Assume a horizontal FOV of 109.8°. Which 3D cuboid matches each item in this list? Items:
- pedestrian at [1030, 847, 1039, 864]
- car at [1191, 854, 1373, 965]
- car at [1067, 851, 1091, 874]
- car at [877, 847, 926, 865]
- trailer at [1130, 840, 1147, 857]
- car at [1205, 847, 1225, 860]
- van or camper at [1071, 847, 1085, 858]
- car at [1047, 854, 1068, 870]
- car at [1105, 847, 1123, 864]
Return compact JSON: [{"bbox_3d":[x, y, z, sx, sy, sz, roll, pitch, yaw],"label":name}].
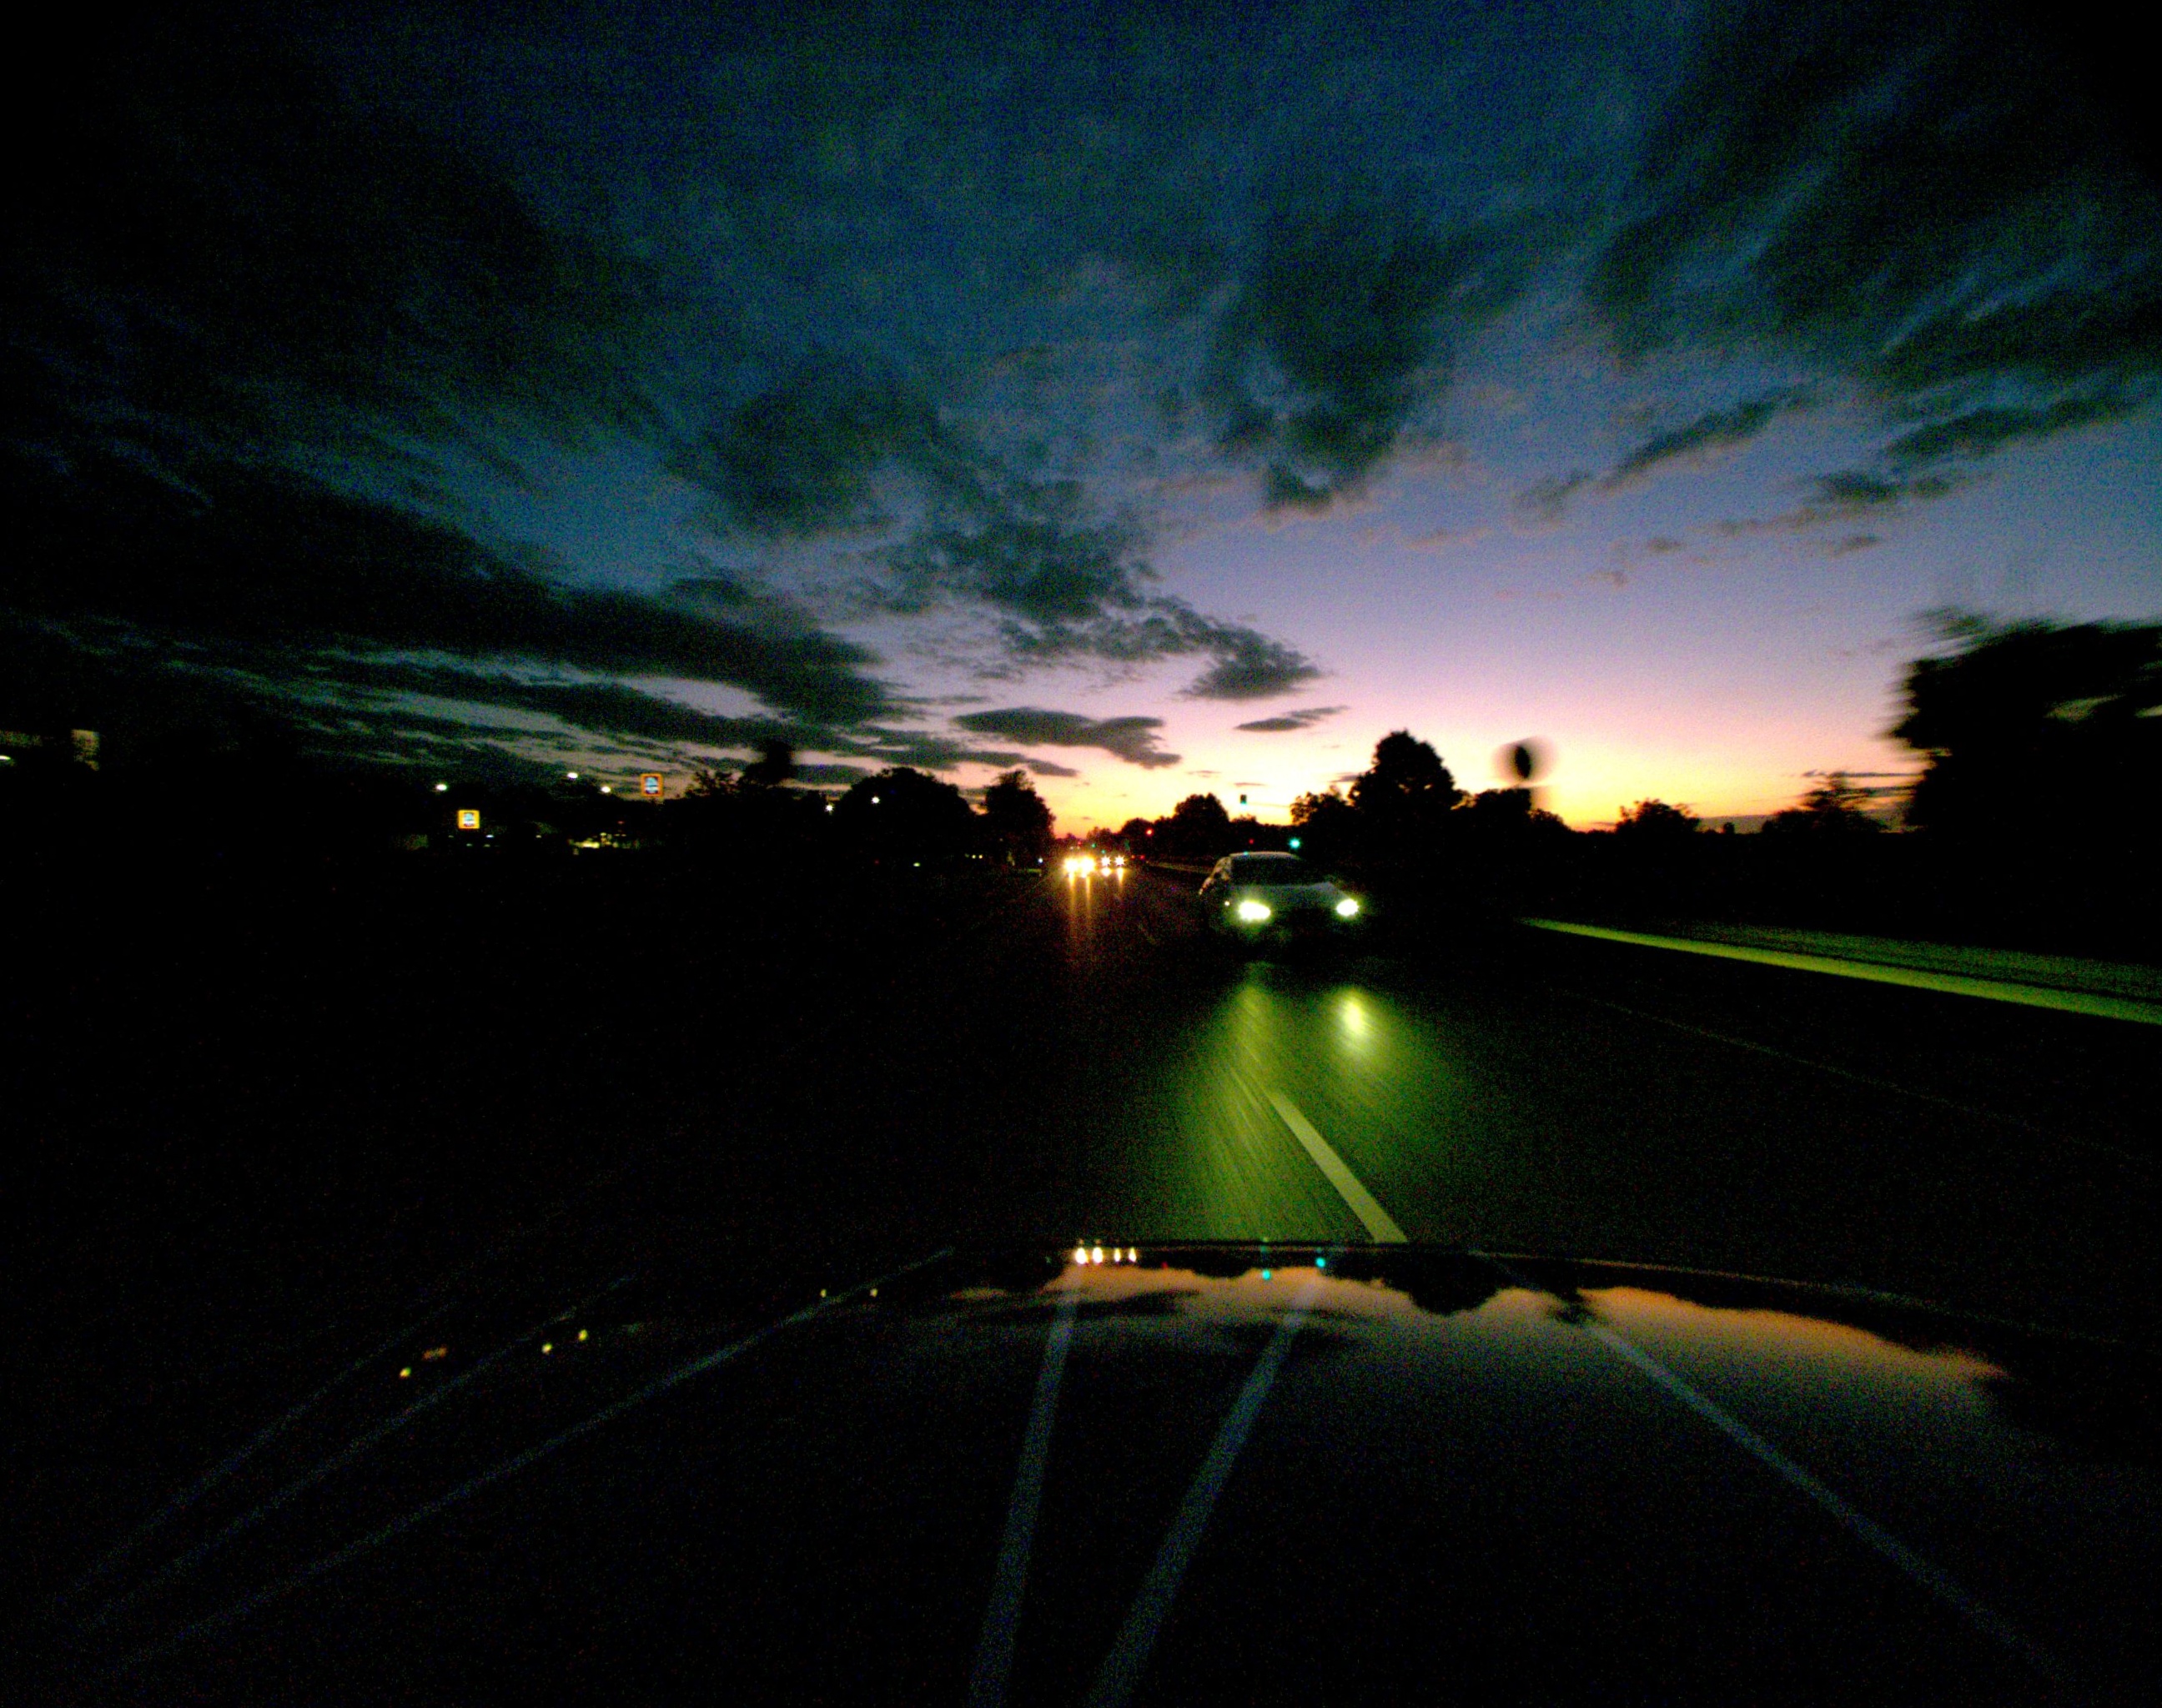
[{"bbox_3d":[-5.715,0.201,92.941,0.782,2.002,0.712,-4,2,-38],"label":"pedestrian"},{"bbox_3d":[3.085,0.770,12.707,1.819,1.428,4.646,-3,0,1],"label":"car"},{"bbox_3d":[-0.111,0.574,54.113,1.663,1.528,3.715,-2,0,1],"label":"car"},{"bbox_3d":[-17.773,0.181,75.316,4.477,1.654,1.999,1,1,-6],"label":"car"},{"bbox_3d":[13.618,-1.419,181.266,2.584,3.920,8.871,1,1,-5],"label":"trailer"},{"bbox_3d":[15.934,-0.074,90.415,1.656,1.376,4.029,-2,1,-1],"label":"car"},{"bbox_3d":[-0.836,-0.348,221.193,3.949,3.107,9.941,0,0,0],"label":"van or camper"},{"bbox_3d":[-2.403,0.817,78.166,1.902,1.547,4.301,-3,0,1],"label":"car"},{"bbox_3d":[3.440,0.176,80.334,1.760,1.692,4.249,-2,0,1],"label":"car"}]
